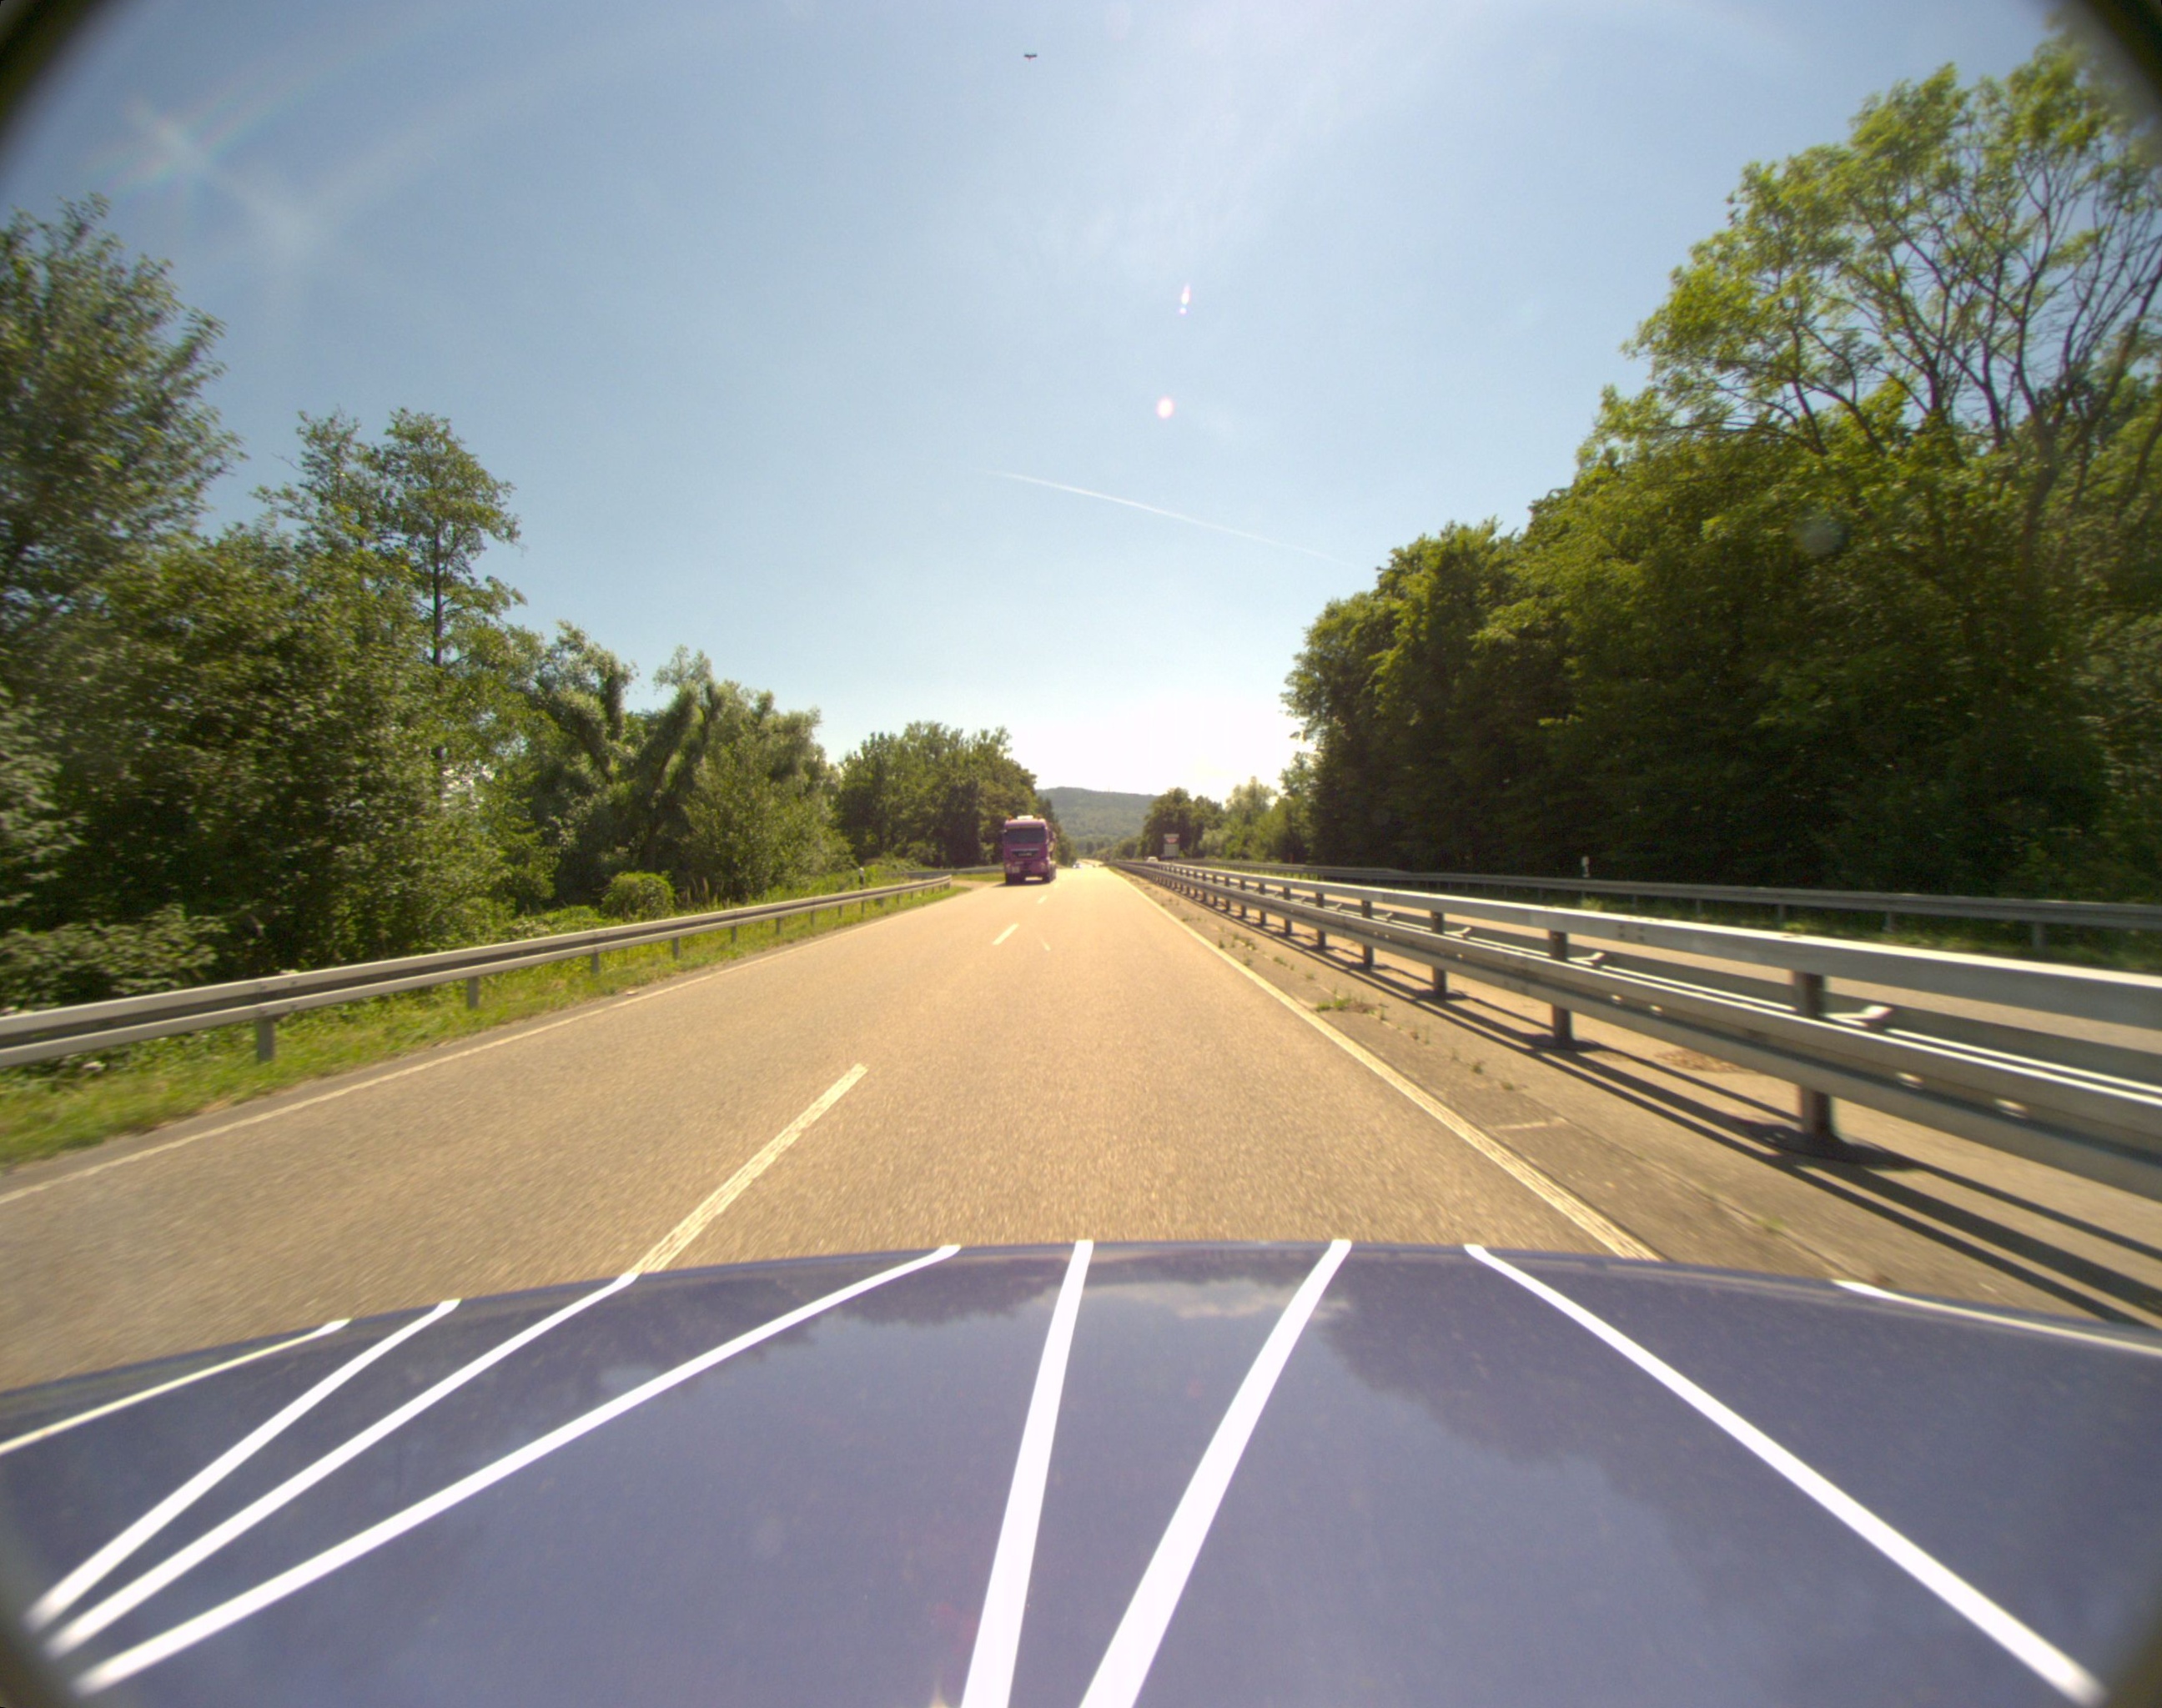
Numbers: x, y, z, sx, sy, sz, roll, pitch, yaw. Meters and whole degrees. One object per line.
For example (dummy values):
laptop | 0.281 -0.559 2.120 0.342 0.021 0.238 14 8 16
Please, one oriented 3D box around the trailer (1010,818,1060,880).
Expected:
trailer | -2.837 -0.229 49.191 2.605 3.607 8.614 -2 -1 0

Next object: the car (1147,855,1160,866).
car | 12.013 1.064 126.183 1.823 1.589 4.840 1 0 0

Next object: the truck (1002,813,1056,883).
truck | -2.916 -0.288 44.214 2.605 3.669 5.939 -2 -1 0
